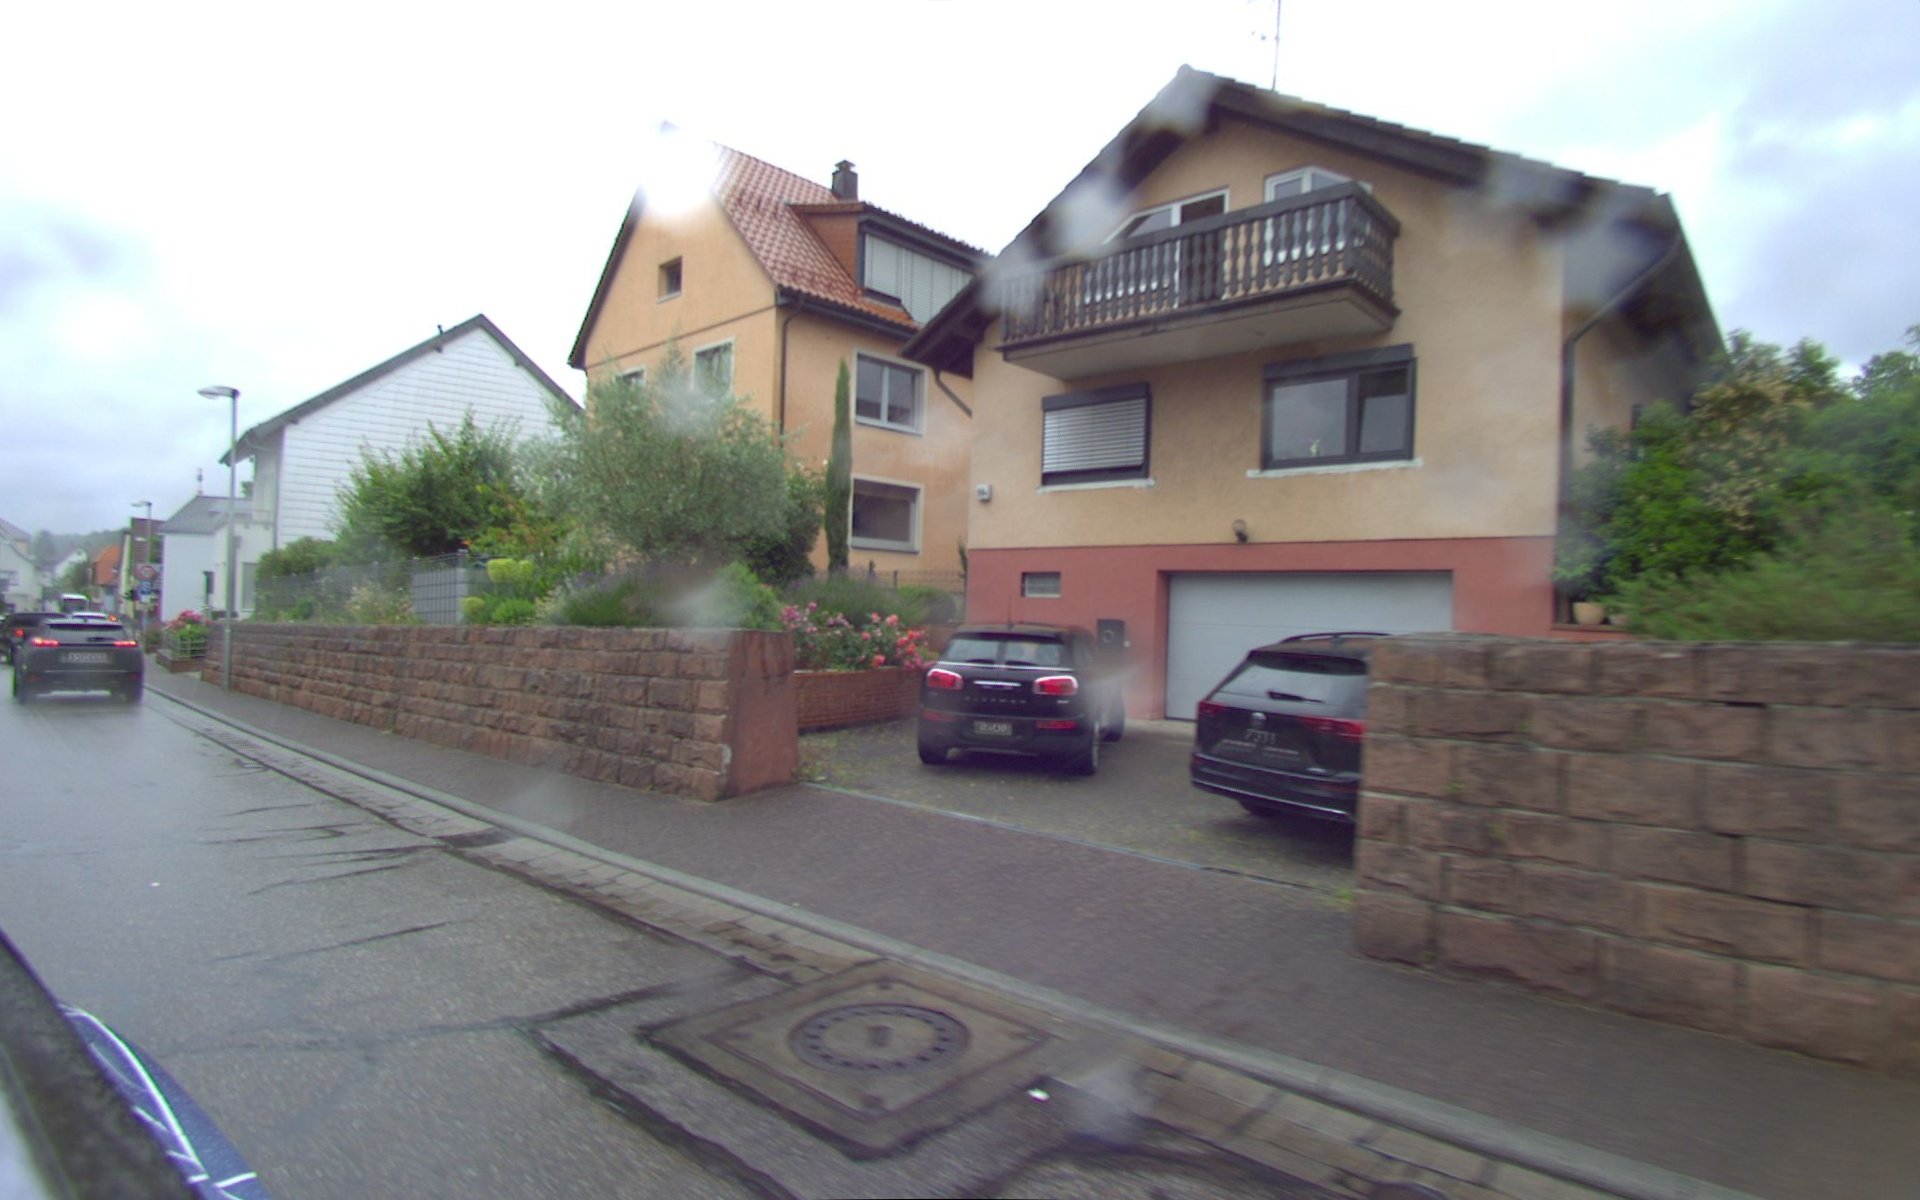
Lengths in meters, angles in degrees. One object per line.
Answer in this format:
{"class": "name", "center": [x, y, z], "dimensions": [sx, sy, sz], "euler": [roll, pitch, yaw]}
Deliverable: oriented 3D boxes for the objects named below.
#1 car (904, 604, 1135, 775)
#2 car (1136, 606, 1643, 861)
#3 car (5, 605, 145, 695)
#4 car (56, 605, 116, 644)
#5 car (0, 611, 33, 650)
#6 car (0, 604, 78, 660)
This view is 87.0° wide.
{"class": "car", "center": [0.847, 0.796, 11.056], "dimensions": [1.797, 1.462, 3.982], "euler": [1, 0, 14]}
{"class": "car", "center": [3.505, 0.847, 8.019], "dimensions": [3.935, 1.504, 2.004], "euler": [2, -1, -37]}
{"class": "car", "center": [-17.046, 0.949, 19.441], "dimensions": [3.852, 1.558, 1.680], "euler": [-1, -5, 45]}
{"class": "car", "center": [-40.042, 1.104, 46.432], "dimensions": [1.788, 1.696, 4.192], "euler": [3, -2, -38]}
{"class": "car", "center": [-39.200, 1.242, 41.540], "dimensions": [1.561, 1.493, 3.719], "euler": [5, -5, -43]}
{"class": "car", "center": [-30.770, 1.038, 33.716], "dimensions": [1.812, 1.686, 5.202], "euler": [4, -2, -43]}
